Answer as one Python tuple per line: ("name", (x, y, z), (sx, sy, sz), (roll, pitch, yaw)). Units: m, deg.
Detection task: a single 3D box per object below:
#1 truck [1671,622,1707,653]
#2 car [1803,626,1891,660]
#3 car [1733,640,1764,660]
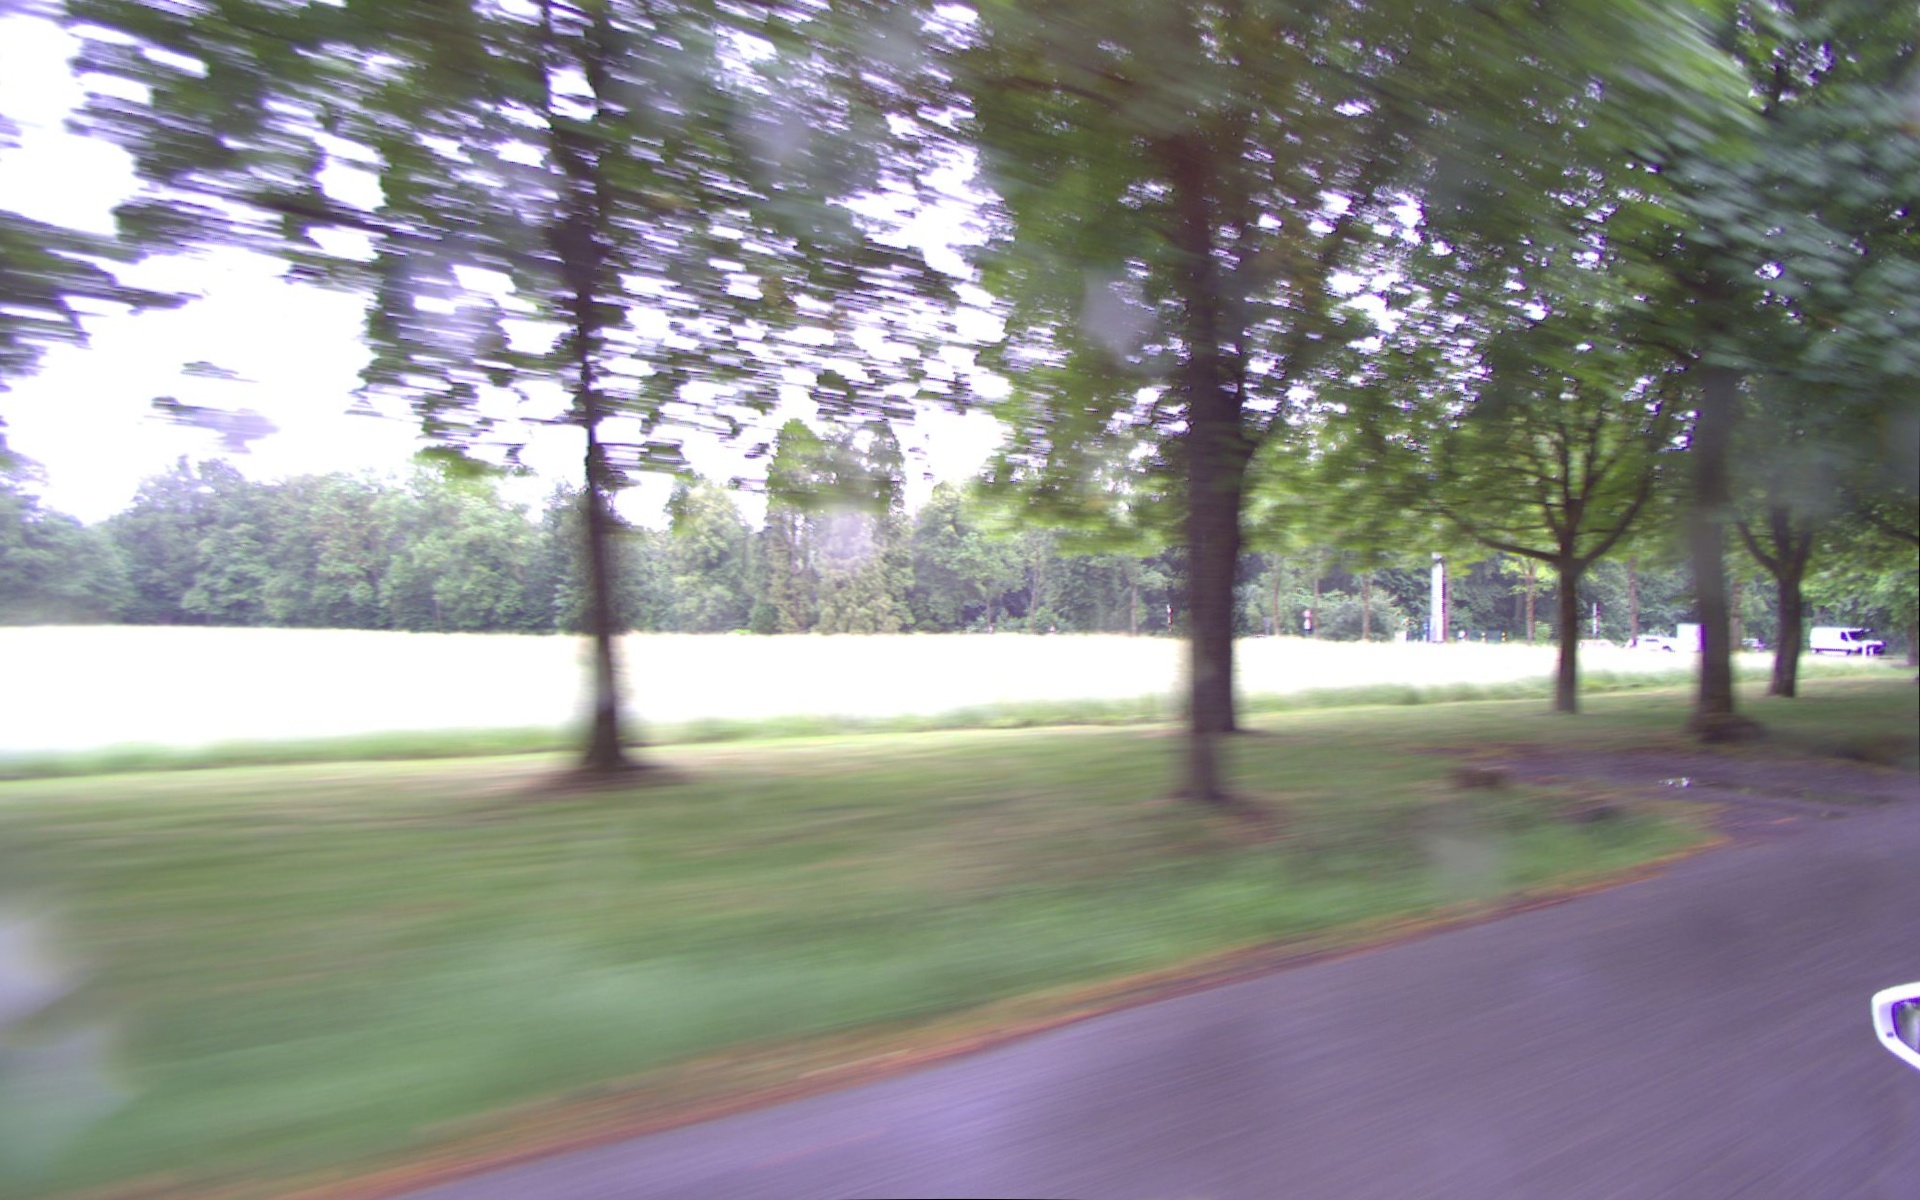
("truck", (58.782, 3.015, 80.976), (3.328, 2.475, 1.851), (2, -2, -45))
("car", (67.999, 3.295, 77.170), (2.344, 2.439, 5.989), (2, -2, 11))
("car", (61.877, 3.903, 78.788), (1.743, 1.448, 4.086), (0, -2, 41))
